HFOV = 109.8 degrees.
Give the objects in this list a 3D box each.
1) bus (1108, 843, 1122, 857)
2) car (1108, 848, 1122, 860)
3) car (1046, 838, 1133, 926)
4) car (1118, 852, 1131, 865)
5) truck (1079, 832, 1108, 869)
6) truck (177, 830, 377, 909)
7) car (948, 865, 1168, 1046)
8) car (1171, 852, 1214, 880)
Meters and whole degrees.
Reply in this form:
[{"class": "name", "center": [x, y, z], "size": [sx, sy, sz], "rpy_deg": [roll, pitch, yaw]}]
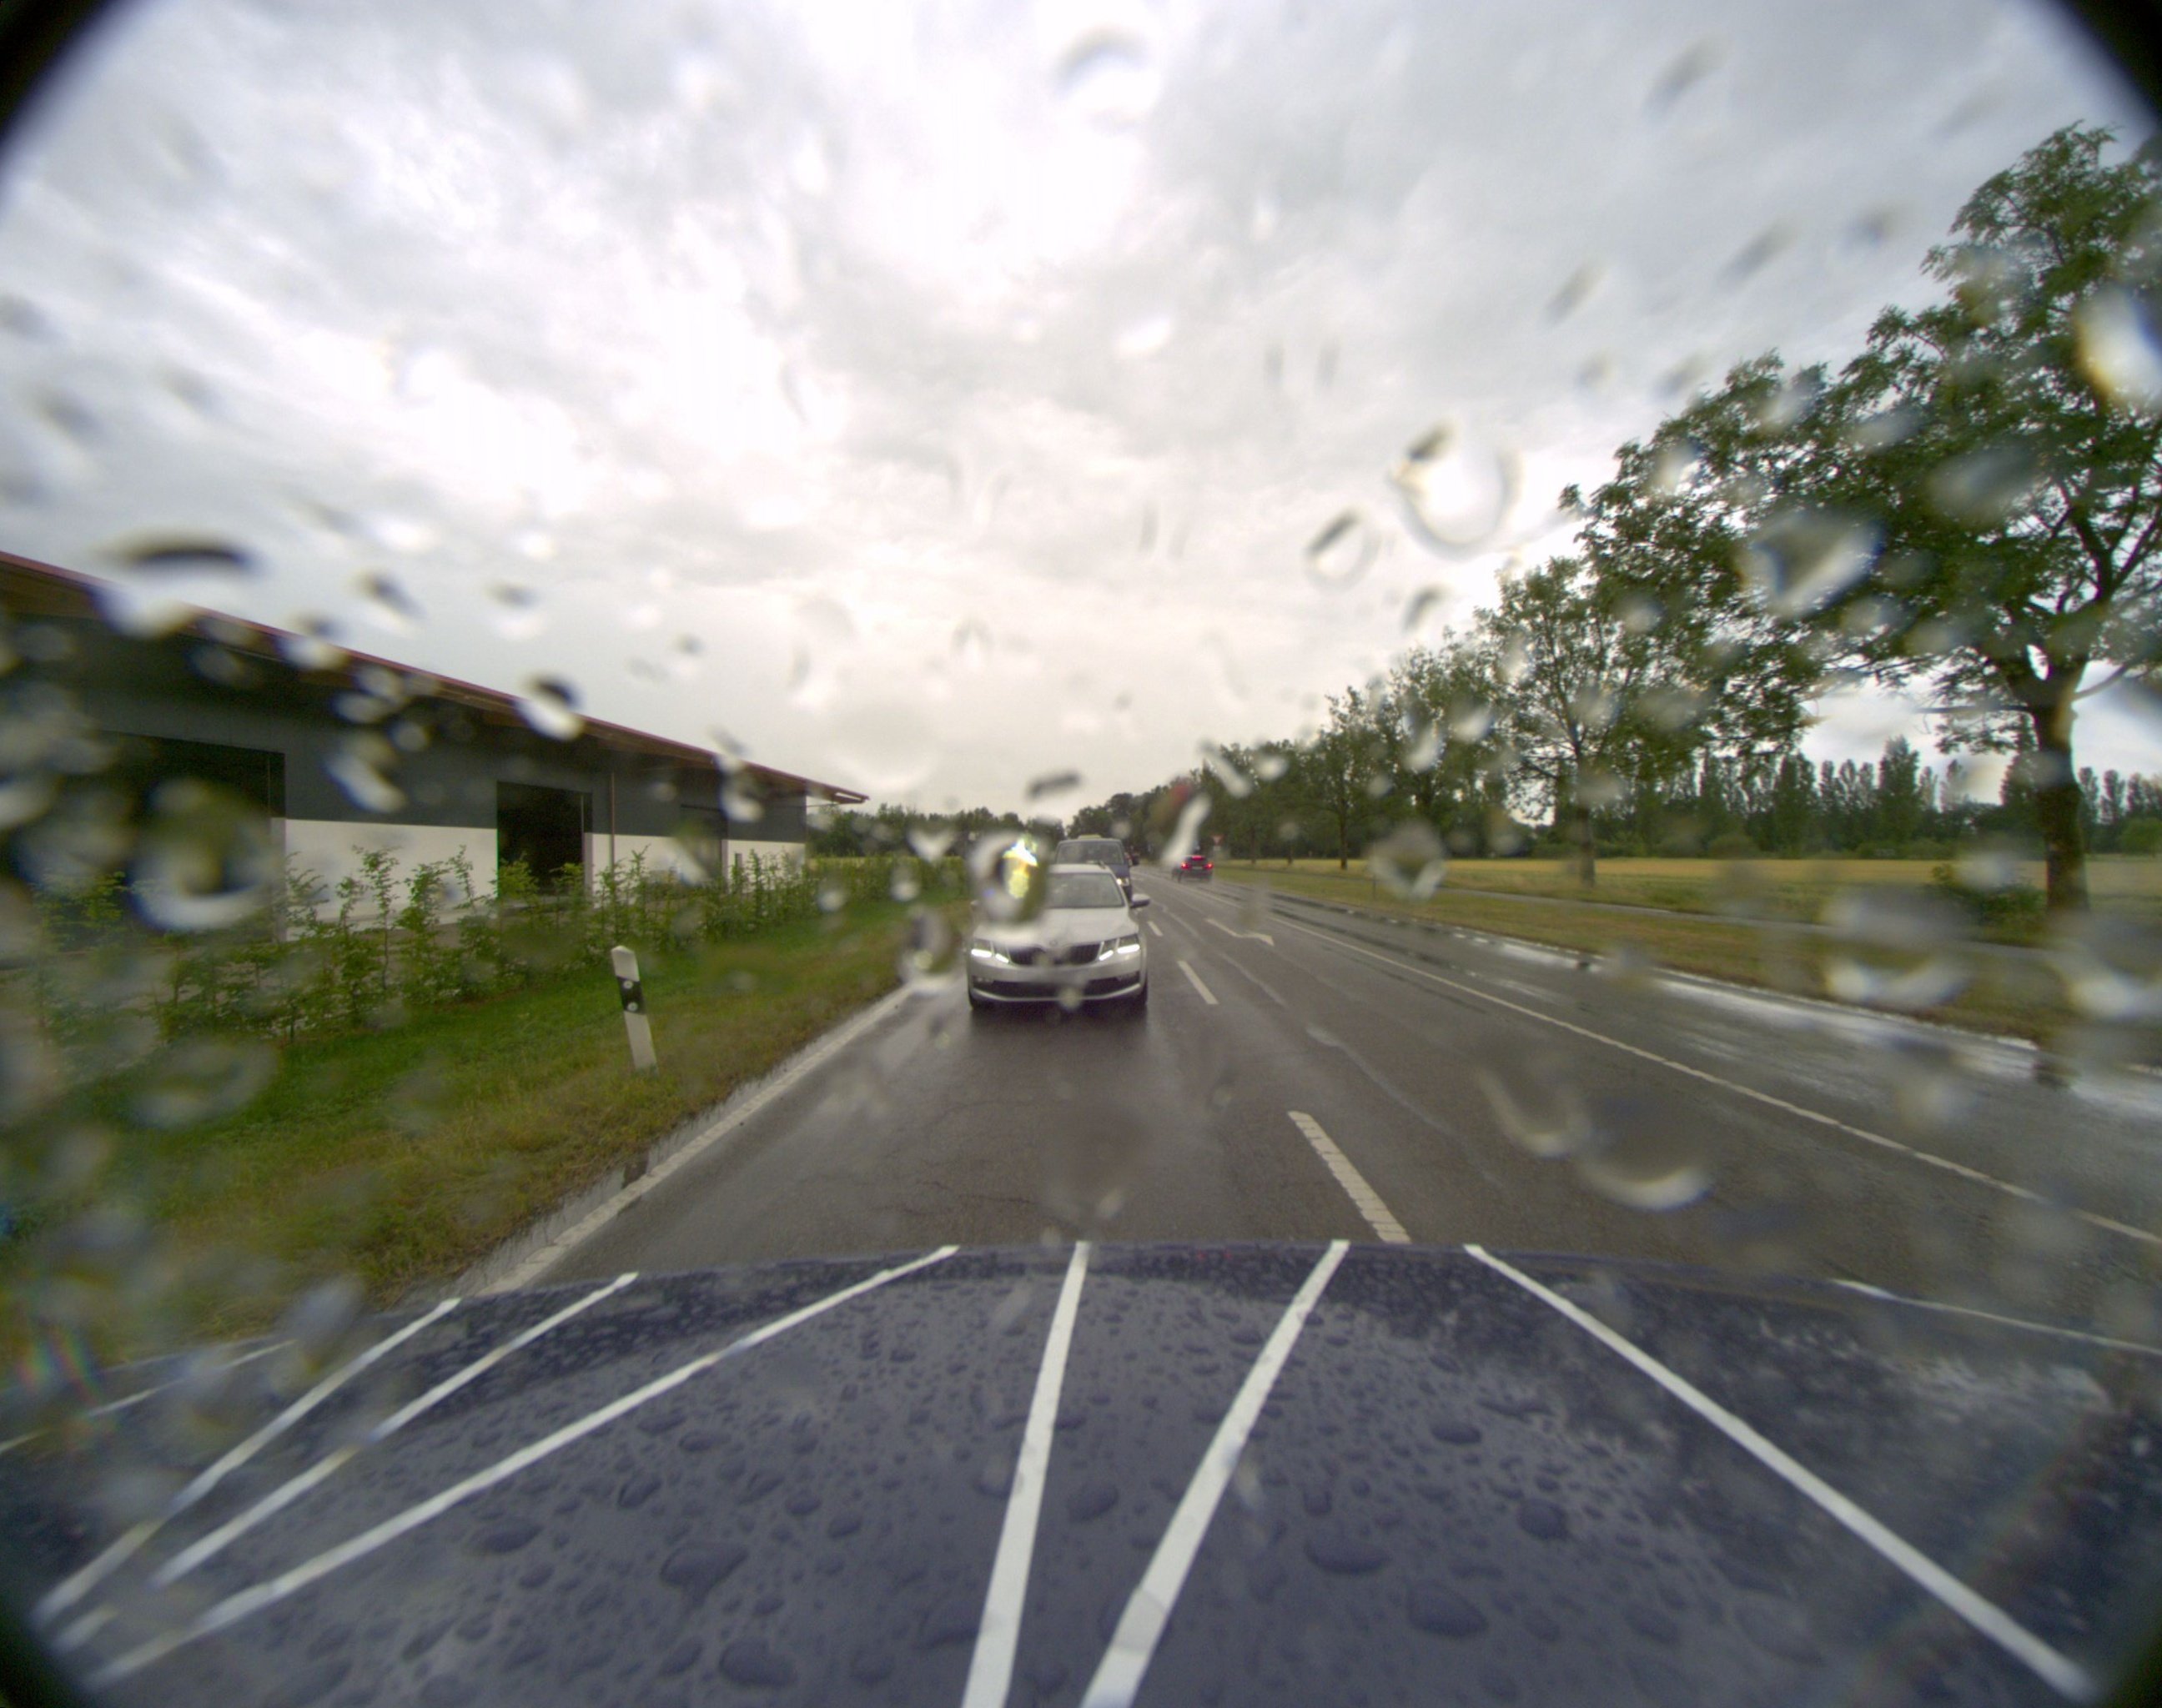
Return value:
[{"class": "bus", "center": [7.372, -0.948, 167.233], "size": [2.957, 2.895, 12.475], "rpy_deg": [0, 1, 2]}, {"class": "car", "center": [5.280, 0.017, 118.979], "size": [1.921, 1.851, 4.684], "rpy_deg": [1, 1, 0]}, {"class": "car", "center": [0.211, 0.601, 18.718], "size": [1.892, 1.939, 4.000], "rpy_deg": [0, 1, 1]}, {"class": "car", "center": [5.948, 0.622, 103.926], "size": [1.708, 1.661, 4.156], "rpy_deg": [1, 1, 2]}, {"class": "truck", "center": [1.369, -0.429, 85.427], "size": [2.931, 3.828, 14.119], "rpy_deg": [0, 0, 1]}, {"class": "truck", "center": [-32.946, 0.563, 31.463], "size": [2.496, 2.996, 5.343], "rpy_deg": [0, 1, 1]}, {"class": "car", "center": [-0.167, 0.912, 8.859], "size": [1.843, 1.379, 4.569], "rpy_deg": [-2, 1, 1]}, {"class": "car", "center": [6.016, 0.598, 41.517], "size": [1.724, 1.396, 4.043], "rpy_deg": [1, 1, 0]}]
